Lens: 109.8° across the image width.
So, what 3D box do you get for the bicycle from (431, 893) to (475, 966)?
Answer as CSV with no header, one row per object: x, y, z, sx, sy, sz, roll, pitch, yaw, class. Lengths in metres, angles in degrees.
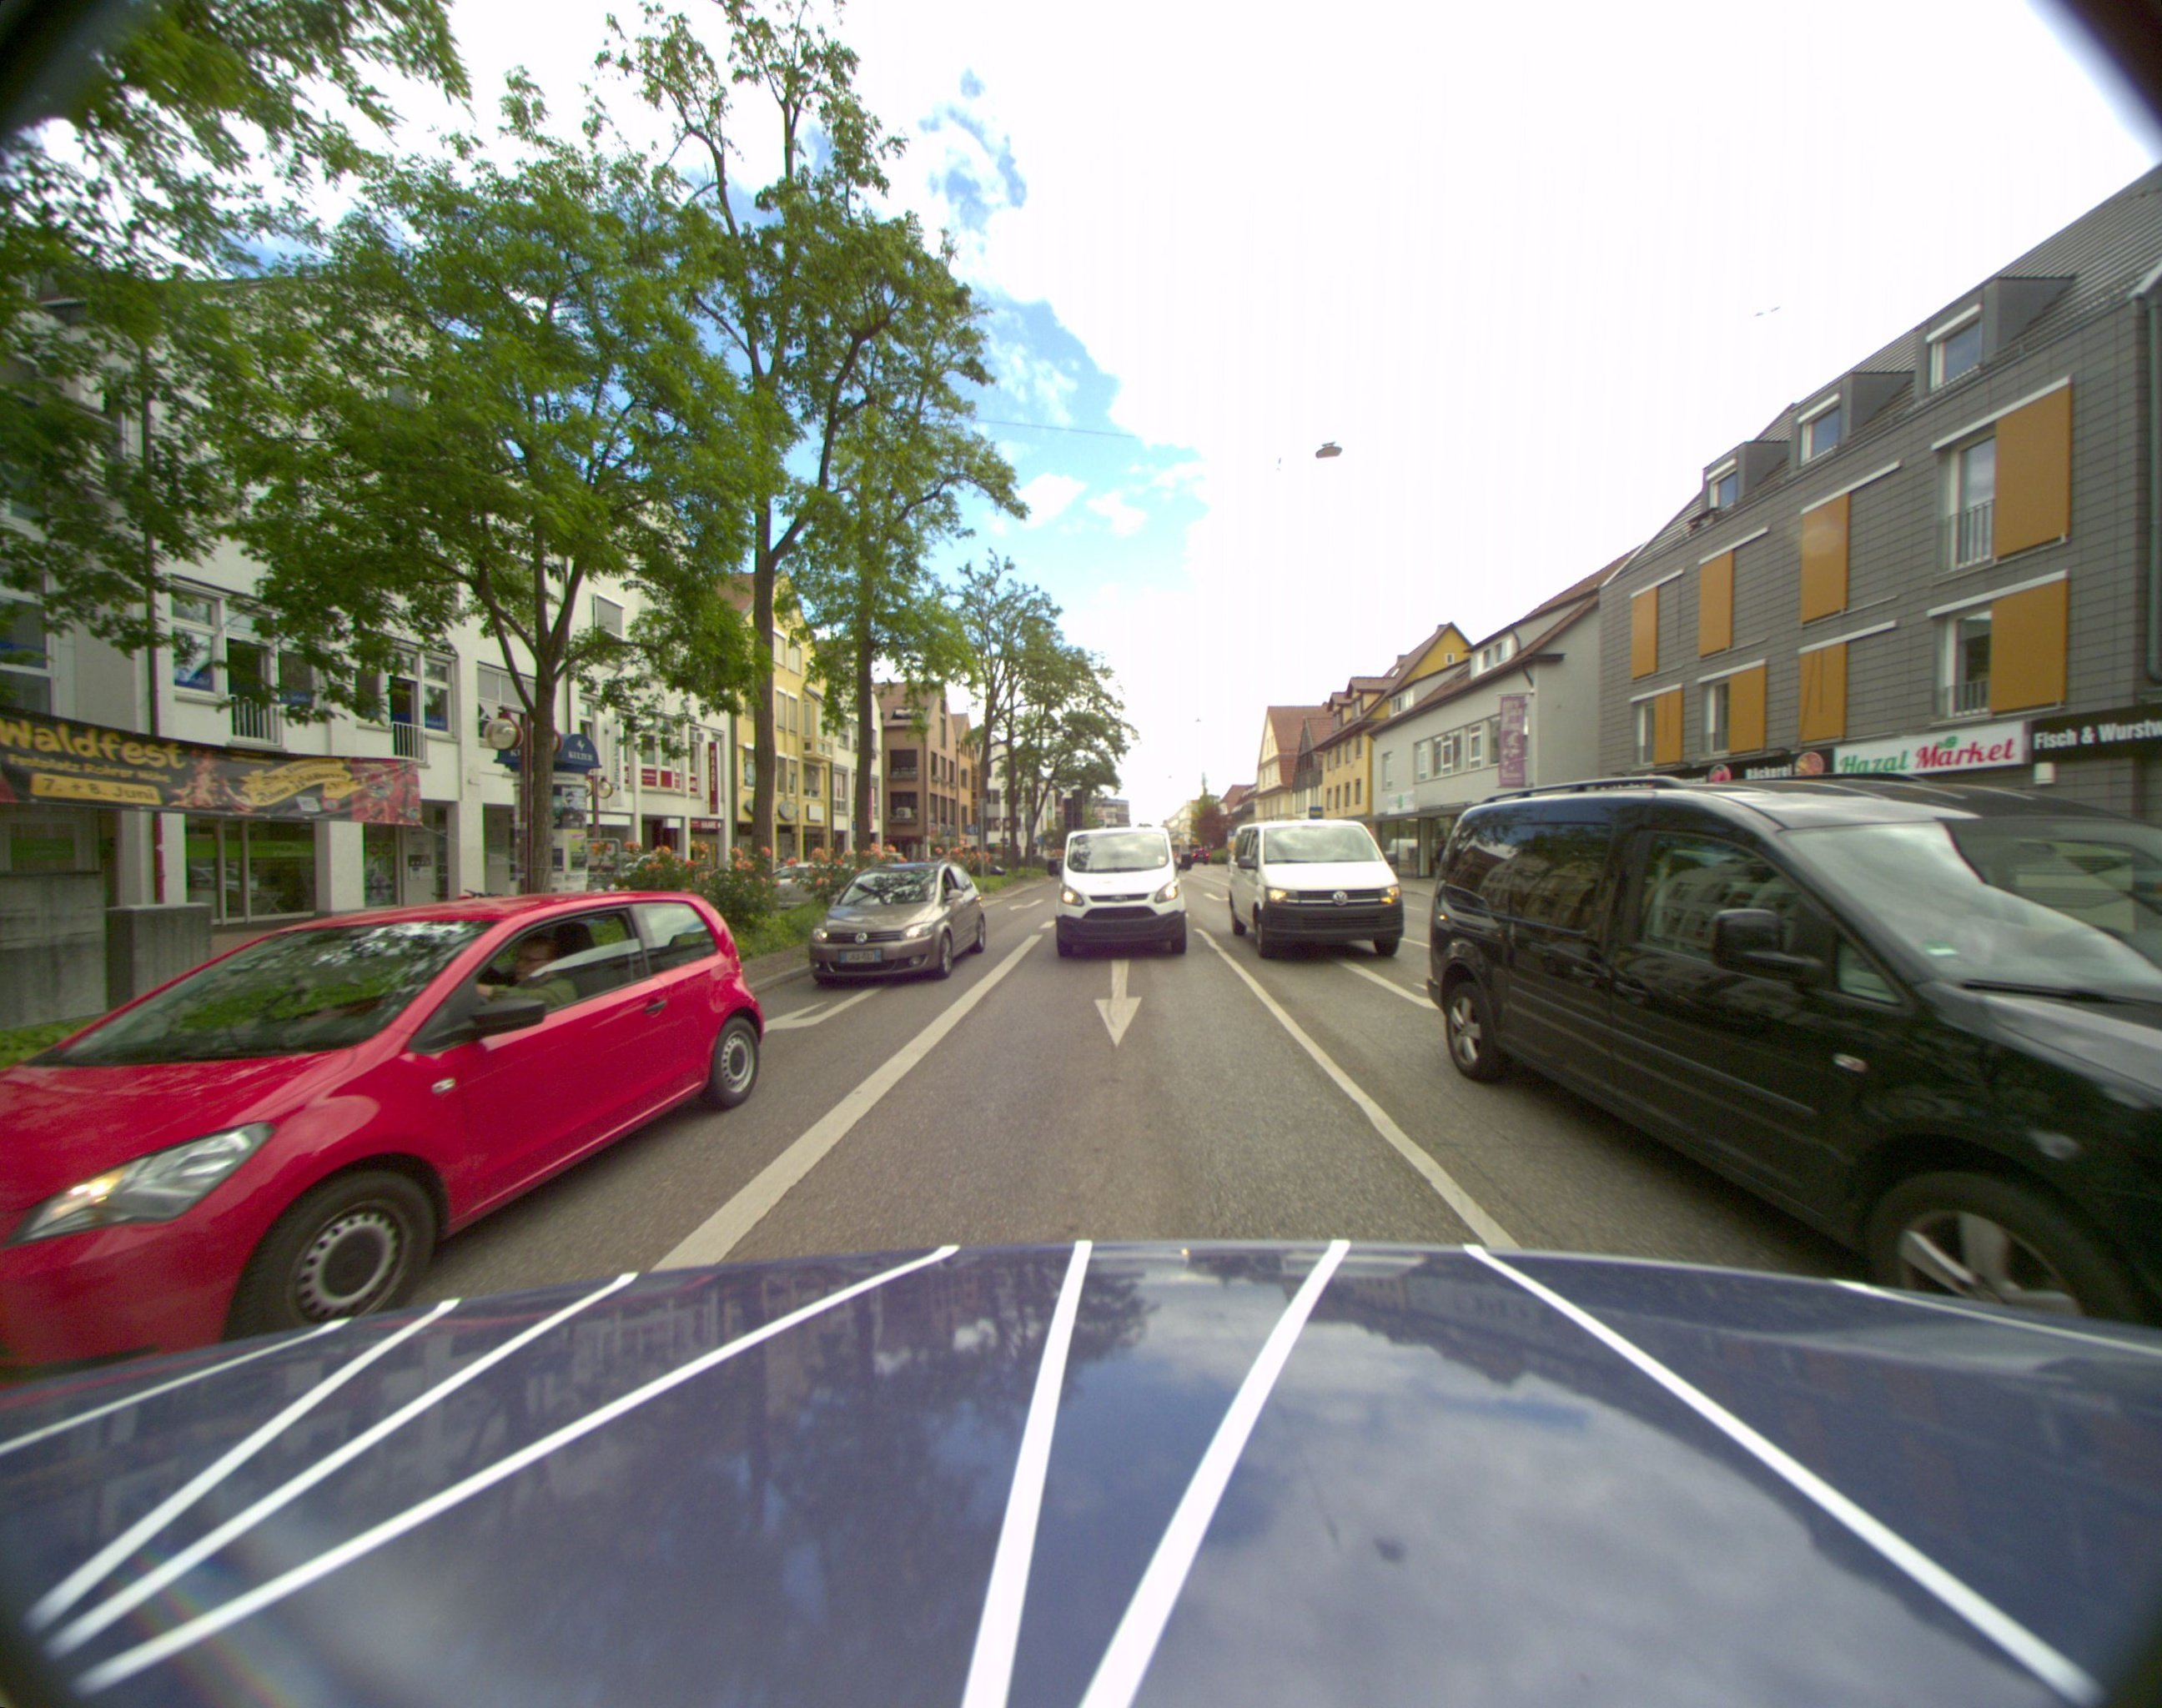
-10.213,1.198,12.351,0.407,1.042,1.565,-2,1,-44,bicycle

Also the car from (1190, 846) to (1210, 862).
14.391,-0.029,92.130,1.927,1.957,4.770,1,1,3,car

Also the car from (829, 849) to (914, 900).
-8.270,0.744,30.514,1.998,1.865,4.753,0,1,2,car

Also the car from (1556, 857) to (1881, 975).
9.474,0.813,11.814,1.873,1.477,4.001,-1,0,4,car

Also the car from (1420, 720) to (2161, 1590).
3.170,0.583,3.101,1.711,1.810,4.572,-3,0,4,car

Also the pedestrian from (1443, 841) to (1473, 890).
13.977,0.411,28.198,0.708,1.771,0.870,-1,1,5,pedestrian

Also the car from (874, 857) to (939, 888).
-8.154,0.821,35.936,1.842,1.302,4.753,0,1,2,car

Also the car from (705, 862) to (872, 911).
-9.255,1.004,24.262,4.648,1.445,1.740,0,1,3,car

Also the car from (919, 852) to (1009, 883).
-6.347,0.731,41.643,4.752,1.669,1.999,0,0,-5,car

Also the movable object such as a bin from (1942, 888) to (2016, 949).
13.982,0.991,11.844,0.552,0.894,0.507,-1,1,2,movable object such as a bin

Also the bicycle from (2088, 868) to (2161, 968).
13.899,0.817,9.232,0.583,1.225,2.120,-1,0,3,bicycle

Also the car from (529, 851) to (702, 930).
-11.754,0.832,19.586,1.738,1.793,4.261,0,1,2,car

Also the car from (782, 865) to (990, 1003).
-2.575,0.991,11.110,1.801,1.521,4.000,-3,0,2,car

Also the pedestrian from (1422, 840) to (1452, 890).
13.212,0.398,28.219,0.708,1.828,1.028,-1,1,5,pedestrian

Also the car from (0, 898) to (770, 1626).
-3.178,1.079,3.568,1.630,1.440,3.643,-3,0,5,car

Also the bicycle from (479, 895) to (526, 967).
-9.546,1.240,12.523,0.407,1.042,1.565,-2,1,-44,bicycle

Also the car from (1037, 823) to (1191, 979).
0.632,0.598,12.845,1.939,1.968,5.781,-3,0,4,car

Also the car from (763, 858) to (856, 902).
-10.843,0.982,30.721,1.998,1.539,4.753,0,1,1,car

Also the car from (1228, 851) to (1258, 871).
12.414,0.537,58.395,1.762,1.440,4.036,0,1,4,car

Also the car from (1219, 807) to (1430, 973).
3.466,0.444,11.892,1.998,2.002,4.841,-2,0,4,car
